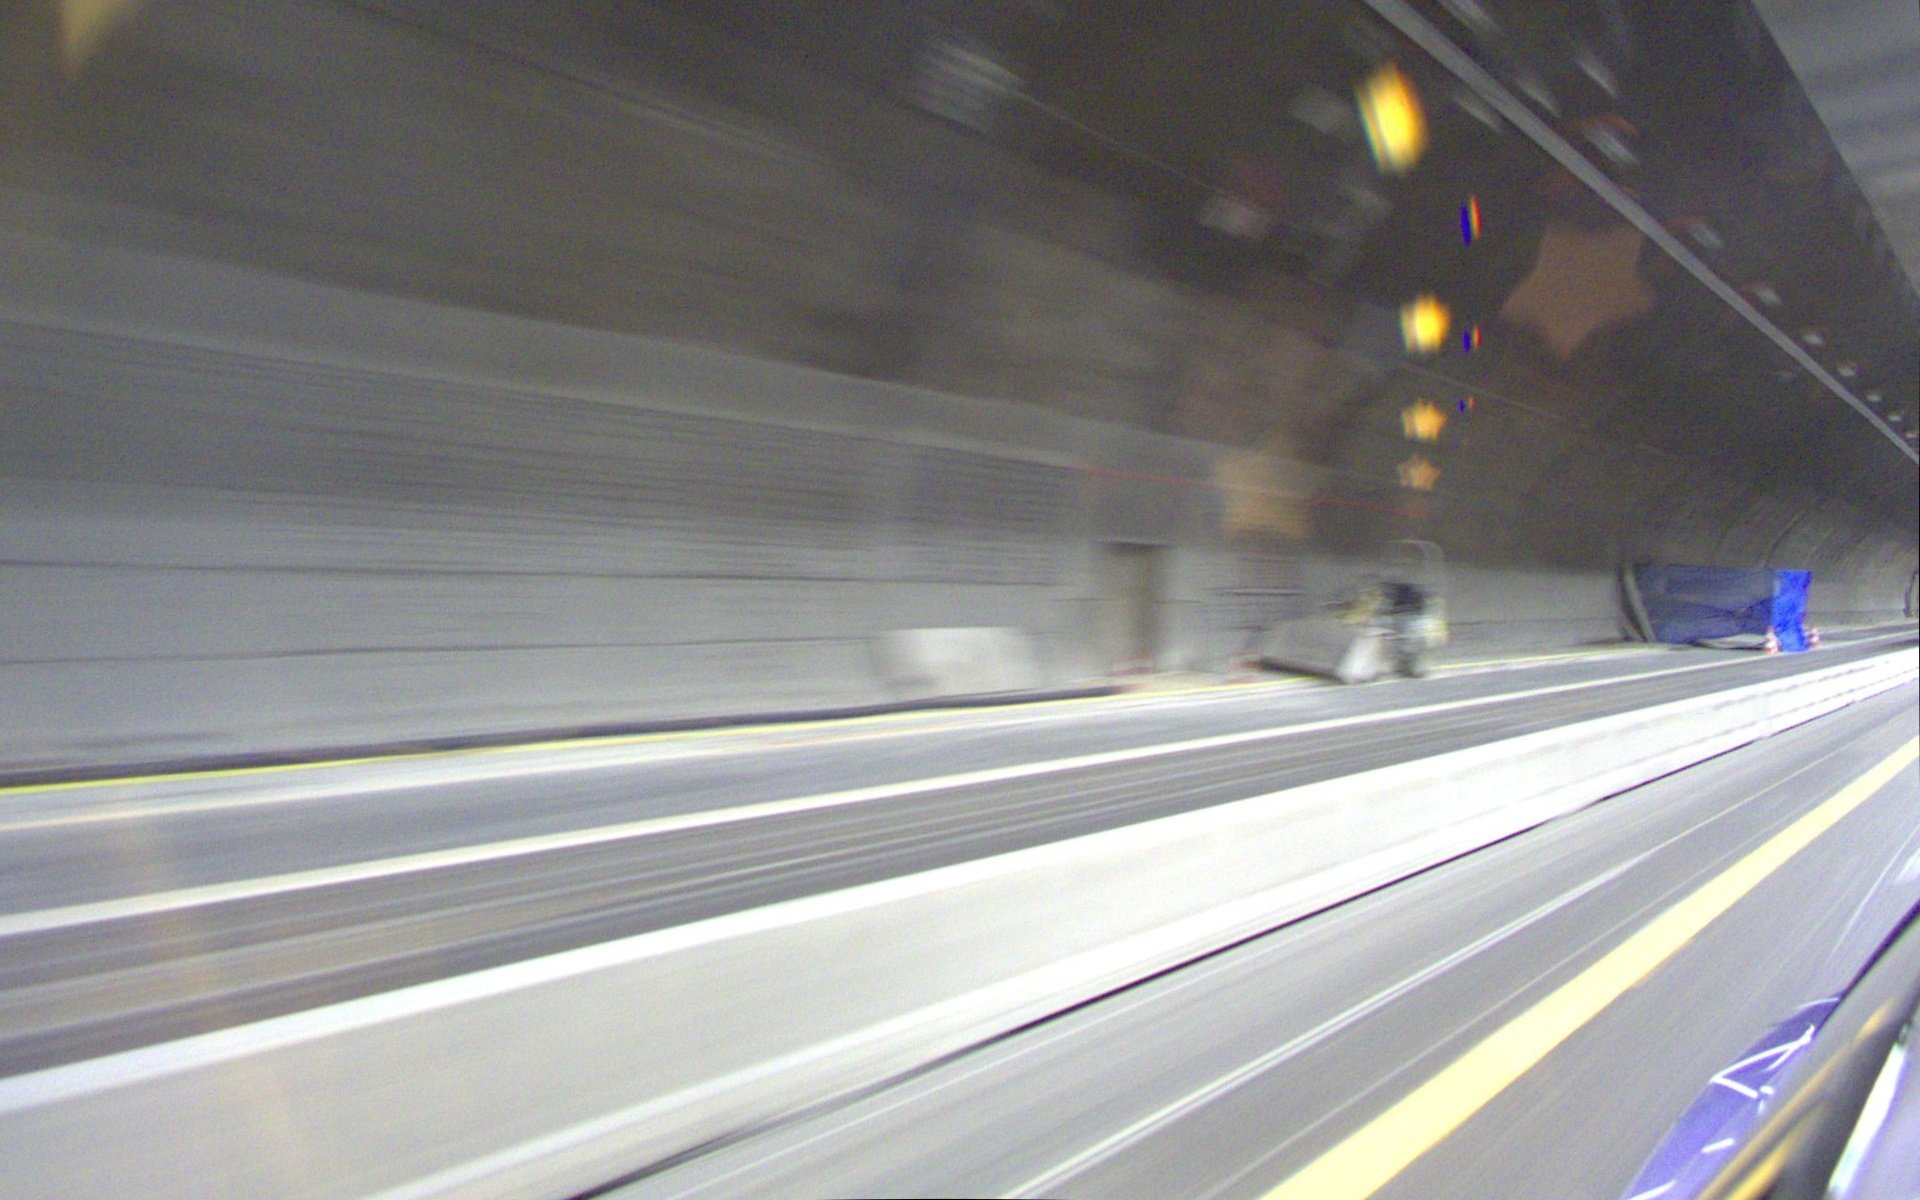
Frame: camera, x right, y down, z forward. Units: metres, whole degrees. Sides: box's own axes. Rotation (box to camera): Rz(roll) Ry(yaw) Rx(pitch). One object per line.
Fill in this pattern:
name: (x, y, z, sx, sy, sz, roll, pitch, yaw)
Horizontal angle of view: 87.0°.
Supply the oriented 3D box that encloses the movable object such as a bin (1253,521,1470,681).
movable object such as a bin: (6.967, -0.047, 17.396, 3.931, 2.408, 1.760, 0, 4, -42)
